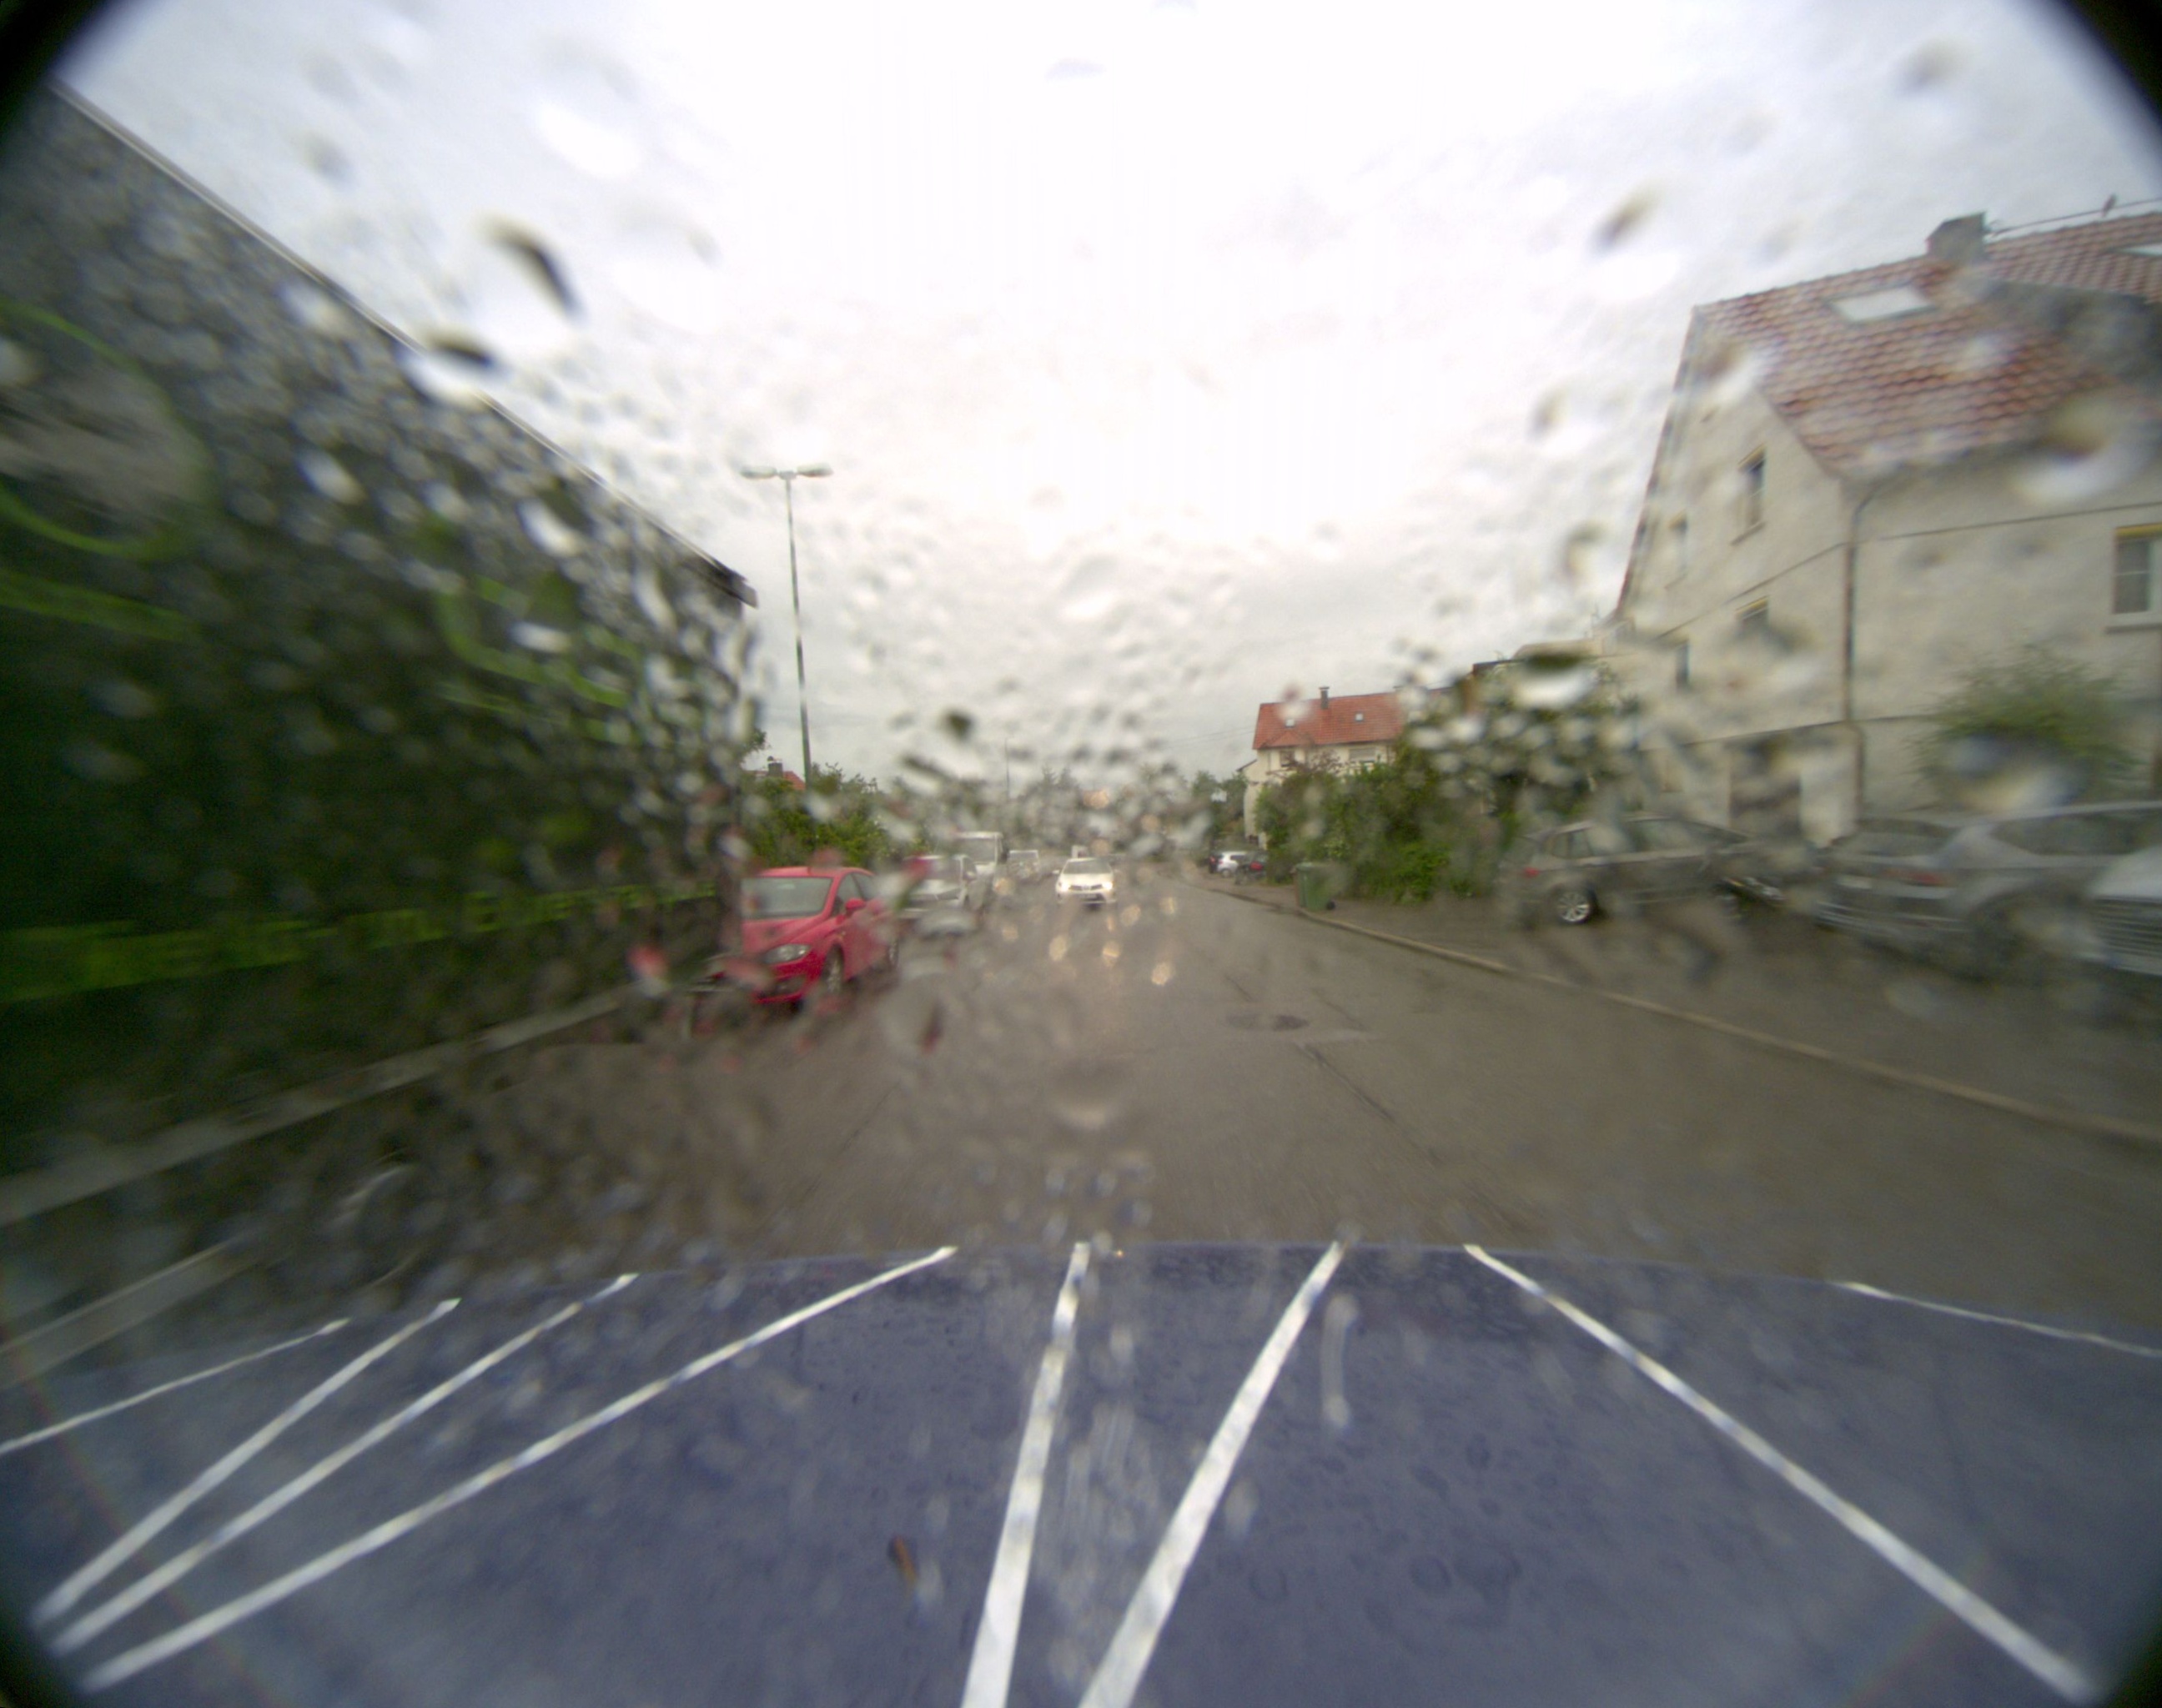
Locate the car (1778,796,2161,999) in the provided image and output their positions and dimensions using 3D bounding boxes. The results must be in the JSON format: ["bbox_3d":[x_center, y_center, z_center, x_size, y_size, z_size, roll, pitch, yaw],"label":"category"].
[{"bbox_3d":[9.475,0.323,6.989,4.060,1.629,1.895,-3,1,17],"label":"car"}]

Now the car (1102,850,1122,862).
[{"bbox_3d":[3.956,0.203,96.019,1.635,1.448,3.705,-1,1,17],"label":"car"}]

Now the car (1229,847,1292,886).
[{"bbox_3d":[7.917,0.501,33.973,1.807,1.588,4.417,-1,1,1],"label":"car"}]

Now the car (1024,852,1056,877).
[{"bbox_3d":[-2.762,0.688,52.181,1.820,1.498,4.724,-1,1,2],"label":"car"}]

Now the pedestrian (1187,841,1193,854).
[{"bbox_3d":[14.061,-0.798,97.692,0.657,1.639,0.733,-2,0,12],"label":"pedestrian"}]

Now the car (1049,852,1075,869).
[{"bbox_3d":[-1.696,0.560,69.650,1.796,1.451,4.790,-1,1,6],"label":"car"}]

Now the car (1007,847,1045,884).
[{"bbox_3d":[-2.973,0.571,41.810,1.854,1.871,4.909,-1,1,-2],"label":"car"}]

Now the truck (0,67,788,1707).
[{"bbox_3d":[-3.385,0.085,1.390,2.442,3.316,7.964,-1,1,1],"label":"truck"}]

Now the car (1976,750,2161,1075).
[{"bbox_3d":[8.928,0.301,4.009,5.091,1.933,2.144,-1,1,17],"label":"car"}]

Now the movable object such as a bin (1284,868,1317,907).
[{"bbox_3d":[5.501,0.825,19.090,0.604,0.923,0.564,-3,1,-4],"label":"movable object such as a bin"}]

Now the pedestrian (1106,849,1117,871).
[{"bbox_3d":[2.231,0.434,55.539,0.718,1.625,0.707,-1,1,2],"label":"pedestrian"}]

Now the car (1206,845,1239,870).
[{"bbox_3d":[8.905,0.206,48.136,1.769,1.368,4.249,-5,0,8],"label":"car"}]

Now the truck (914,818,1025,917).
[{"bbox_3d":[-3.244,0.323,23.751,2.244,2.616,6.538,-1,1,2],"label":"truck"}]

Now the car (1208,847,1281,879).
[{"bbox_3d":[9.350,0.482,43.366,3.831,1.470,1.805,5,3,15],"label":"car"}]

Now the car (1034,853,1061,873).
[{"bbox_3d":[-2.541,0.668,58.442,1.739,1.406,3.852,-1,1,3],"label":"car"}]

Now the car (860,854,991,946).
[{"bbox_3d":[-3.099,0.836,16.132,1.764,1.595,4.666,-1,1,0],"label":"car"}]

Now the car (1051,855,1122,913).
[{"bbox_3d":[0.239,0.830,22.755,1.863,1.370,4.180,-3,2,2],"label":"car"}]

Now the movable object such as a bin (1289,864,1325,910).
[{"bbox_3d":[5.481,0.780,18.434,0.604,1.057,0.638,-3,1,-3],"label":"movable object such as a bin"}]

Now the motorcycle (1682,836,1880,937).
[{"bbox_3d":[9.243,0.437,10.111,1.782,1.164,0.641,-5,3,22],"label":"motorcycle"}]

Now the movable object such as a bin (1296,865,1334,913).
[{"bbox_3d":[5.455,0.807,17.722,0.604,1.057,0.698,-3,1,-3],"label":"movable object such as a bin"}]

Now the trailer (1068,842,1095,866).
[{"bbox_3d":[0.111,-0.082,80.853,1.952,2.442,5.438,-1,1,10],"label":"trailer"}]

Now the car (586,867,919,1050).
[{"bbox_3d":[-3.429,0.973,9.207,1.836,1.429,4.986,-1,1,0],"label":"car"}]

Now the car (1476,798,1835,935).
[{"bbox_3d":[8.853,0.200,12.143,4.061,1.682,1.895,-6,1,14],"label":"car"}]

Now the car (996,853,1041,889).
[{"bbox_3d":[-2.890,0.763,35.903,1.652,1.554,3.963,-1,1,2],"label":"car"}]
